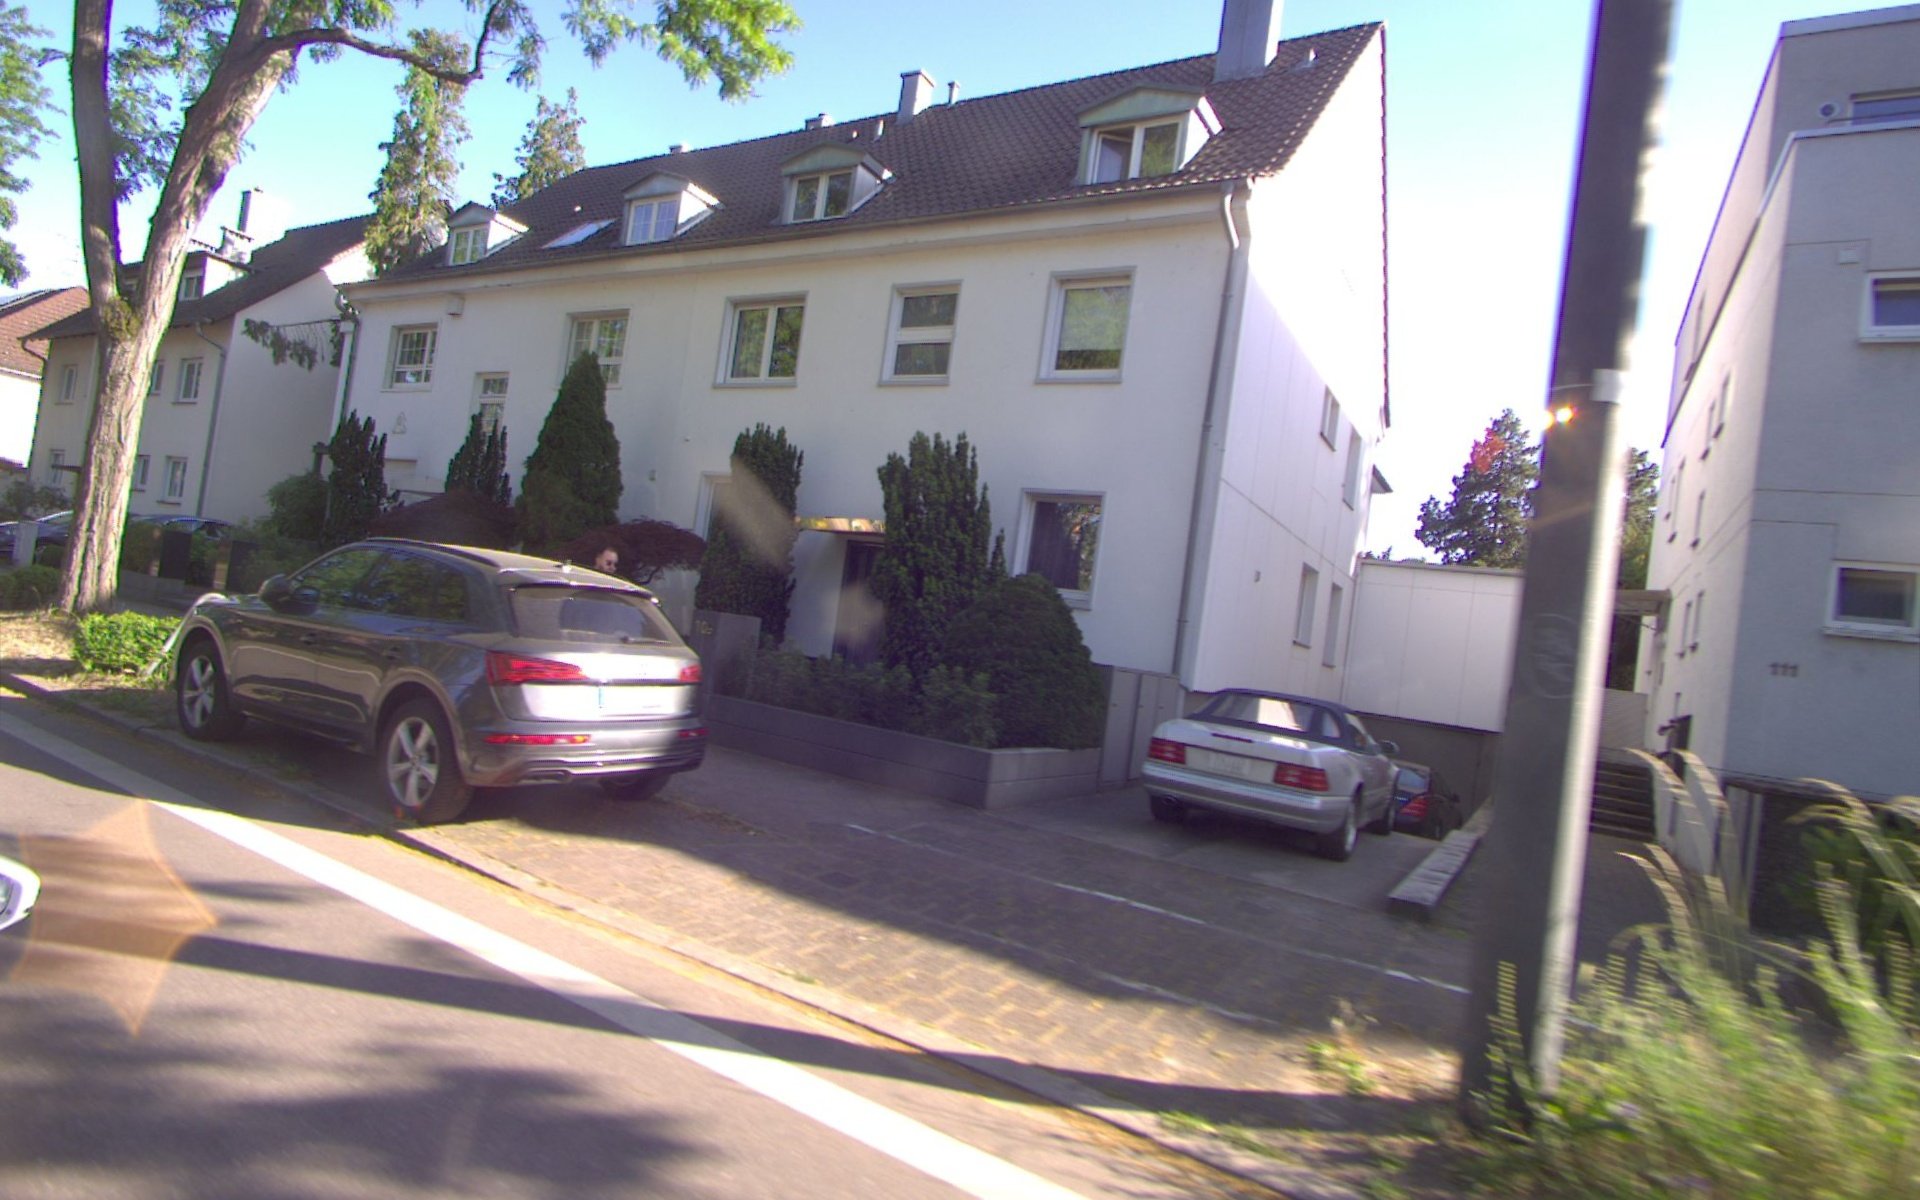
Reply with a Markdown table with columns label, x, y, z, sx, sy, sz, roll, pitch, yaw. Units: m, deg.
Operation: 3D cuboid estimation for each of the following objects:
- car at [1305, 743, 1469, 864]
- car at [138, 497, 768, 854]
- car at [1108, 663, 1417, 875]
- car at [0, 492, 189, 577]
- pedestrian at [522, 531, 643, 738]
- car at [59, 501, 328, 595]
| label | x | y | z | sx | sy | sz | roll | pitch | yaw |
| --- | --- | --- | --- | --- | --- | --- | --- | --- | --- |
| car | 7.164 | 3.234 | 16.639 | 1.846 | 1.358 | 4.060 | 7 | -2 | 31 |
| car | -3.831 | 0.356 | 7.428 | 4.402 | 1.726 | 1.996 | 7 | 1 | 31 |
| car | 3.145 | 1.518 | 9.812 | 1.846 | 1.358 | 4.060 | 7 | -2 | 31 |
| car | -20.950 | -1.555 | 23.872 | 1.709 | 1.507 | 3.749 | 7 | -1 | 26 |
| pedestrian | -3.668 | 0.328 | 9.790 | 0.720 | 1.894 | 0.626 | 7 | 2 | 30 |
| car | -17.157 | -1.106 | 22.749 | 1.828 | 1.508 | 4.424 | 7 | 0 | 34 |
